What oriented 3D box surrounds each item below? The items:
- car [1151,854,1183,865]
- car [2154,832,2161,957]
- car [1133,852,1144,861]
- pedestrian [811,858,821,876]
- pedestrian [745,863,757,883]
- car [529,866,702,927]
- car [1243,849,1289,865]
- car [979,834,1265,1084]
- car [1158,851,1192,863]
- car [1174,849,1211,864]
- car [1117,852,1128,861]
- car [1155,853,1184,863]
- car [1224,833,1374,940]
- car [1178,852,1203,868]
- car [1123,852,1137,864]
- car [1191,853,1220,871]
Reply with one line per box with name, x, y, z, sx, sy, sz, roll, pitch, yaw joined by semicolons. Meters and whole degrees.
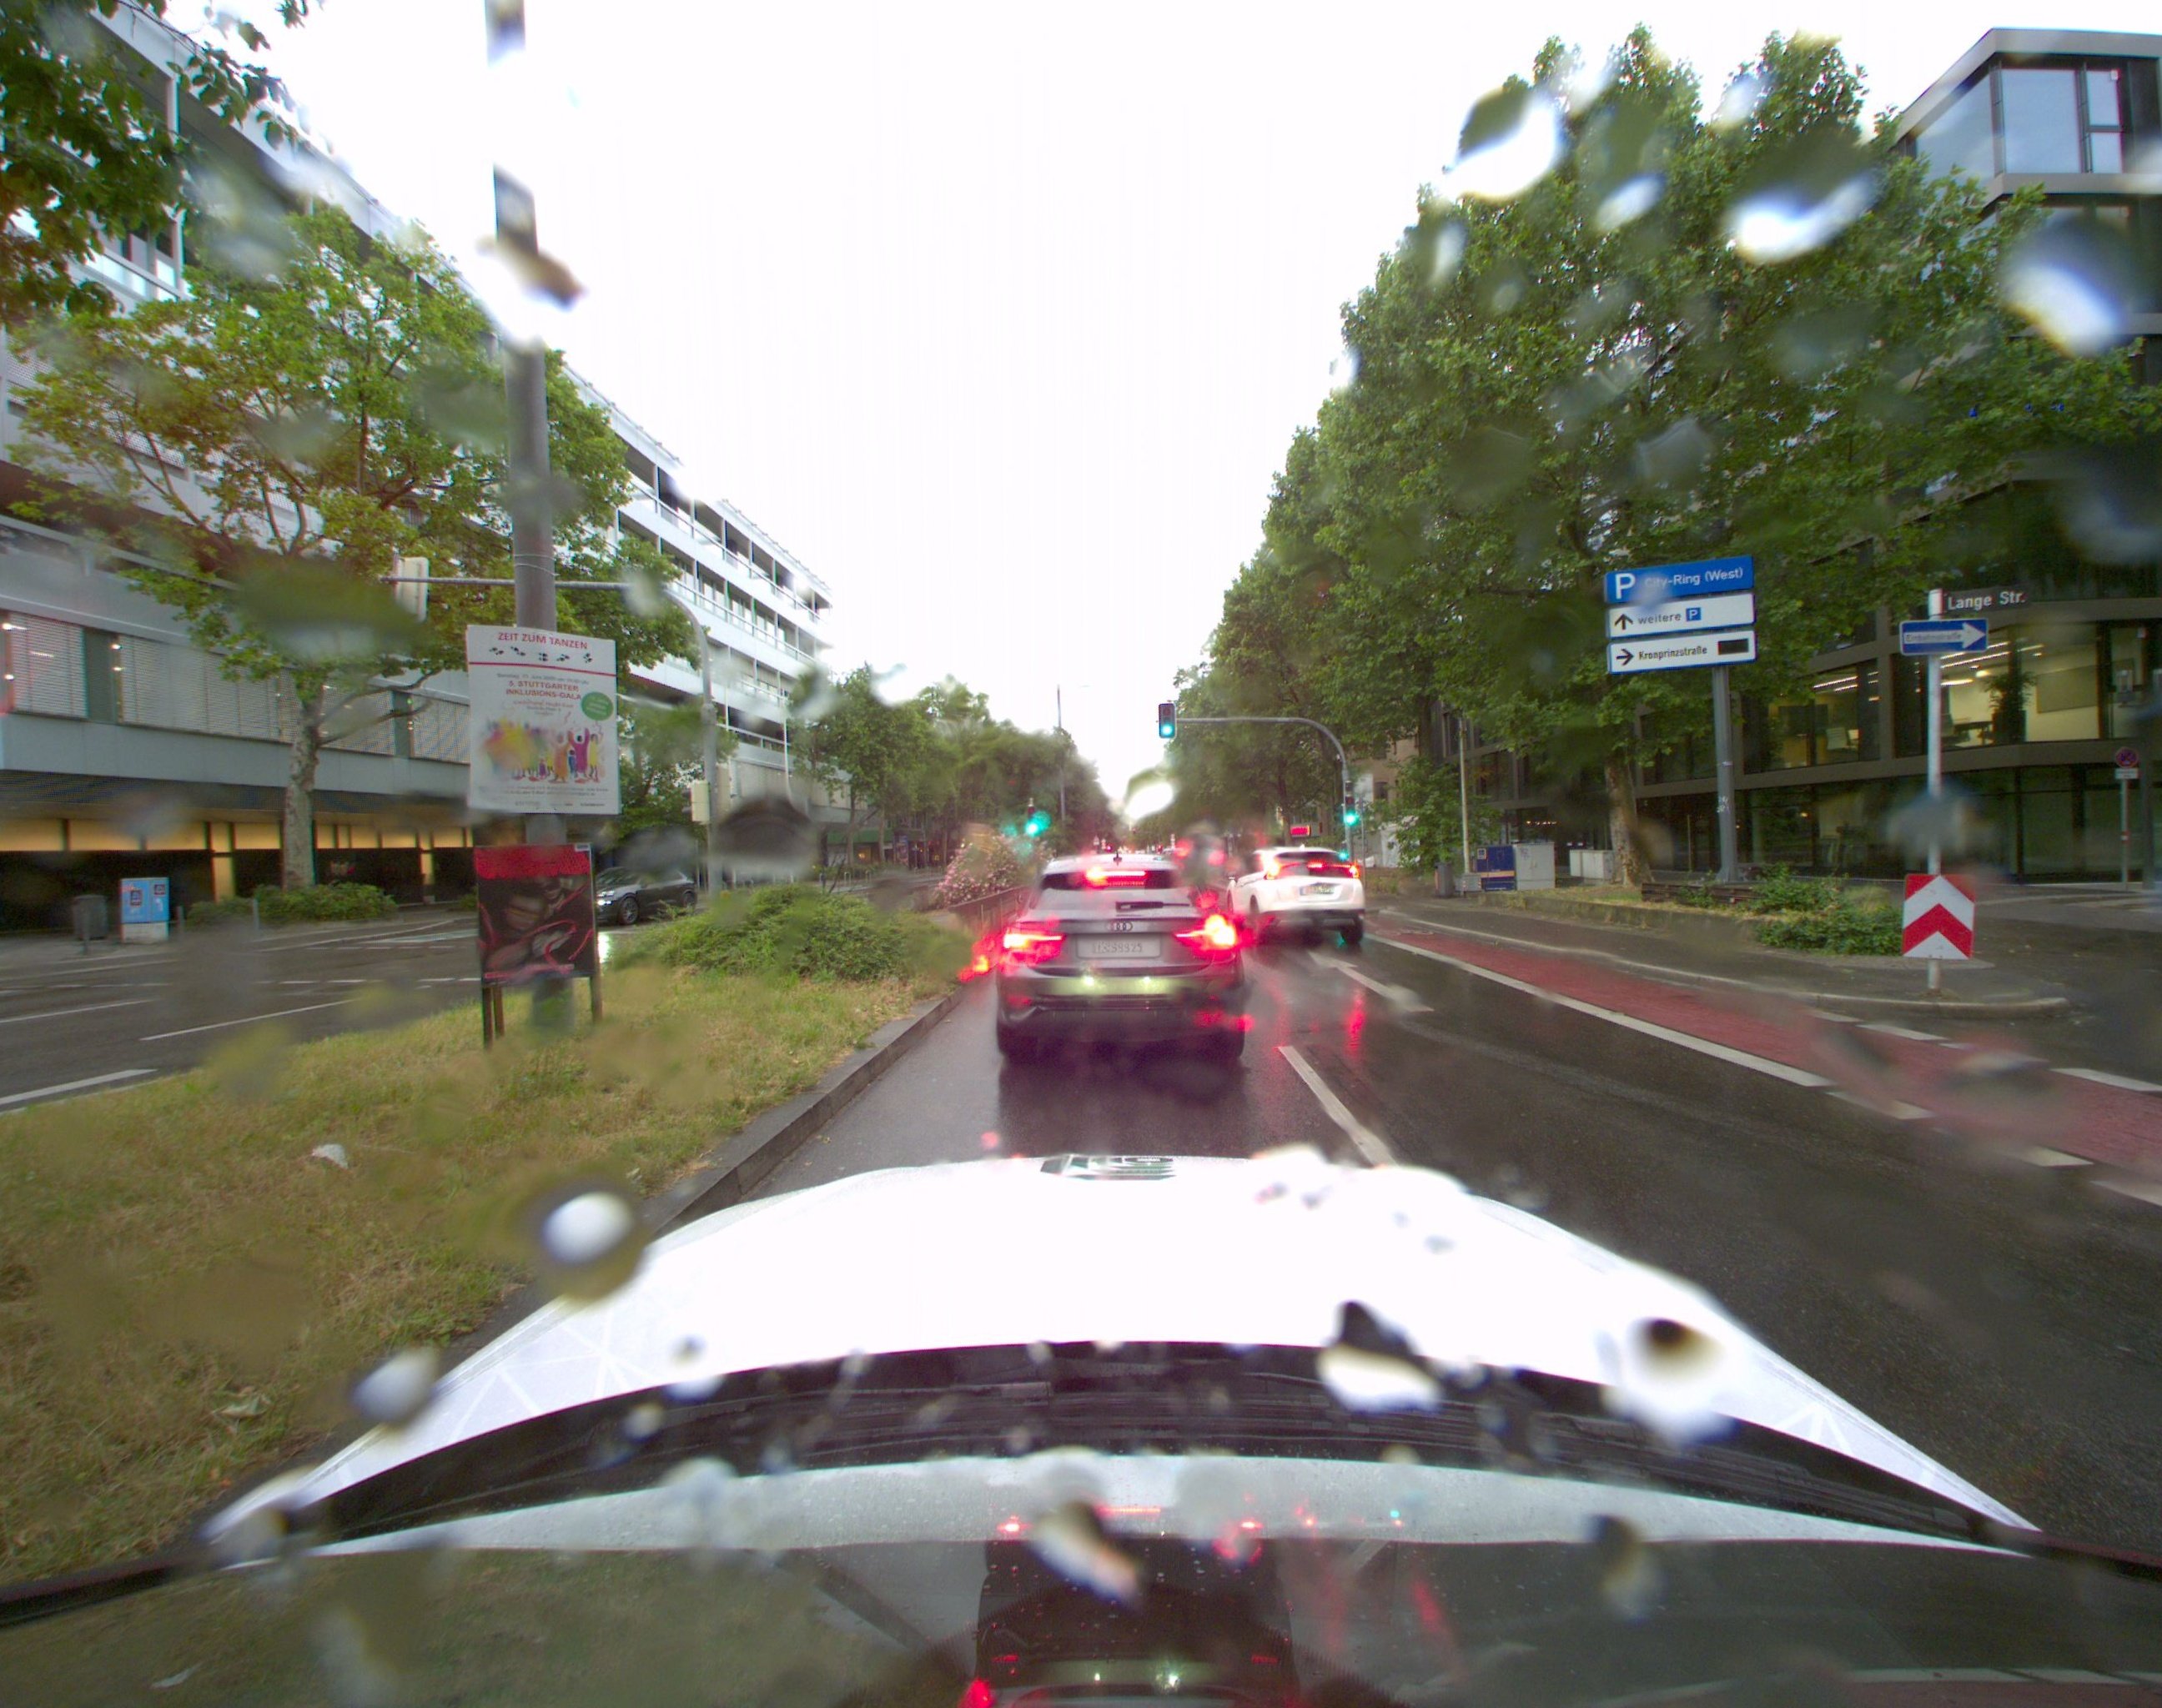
car;13.509;0.825;127.522;4.594;1.706;2.012;-1;-1;30
car;11.751;0.462;7.321;1.778;1.436;4.087;-3;-1;42
car;10.728;0.400;151.078;1.985;1.651;4.003;0;-1;3
pedestrian;-21.892;1.046;67.301;0.608;1.482;0.574;0;-1;-1
pedestrian;-22.393;1.297;55.279;0.637;1.380;0.473;0;-1;-9
car;-13.345;1.145;23.768;1.900;1.584;4.754;0;-1;6
car;13.269;0.232;58.427;2.856;1.074;1.465;-1;-1;33
car;0.330;0.695;7.344;1.842;1.602;4.001;-1;0;2
car;14.237;0.503;123.257;4.594;1.706;2.012;-1;-1;30
car;14.941;0.376;108.889;4.548;2.014;1.980;-1;-1;41
car;7.610;0.501;148.635;1.889;1.599;3.940;0;-1;2
car;15.297;0.749;140.442;4.594;1.706;2.012;-1;-1;30
car;3.845;0.549;15.079;1.870;1.697;4.002;0;-1;3
car;10.614;0.582;79.205;1.723;1.571;4.070;0;-1;-2
car;7.146;0.538;119.659;1.986;1.726;4.002;0;-1;2
car;10.414;0.647;68.431;1.865;1.421;4.614;0;0;3
